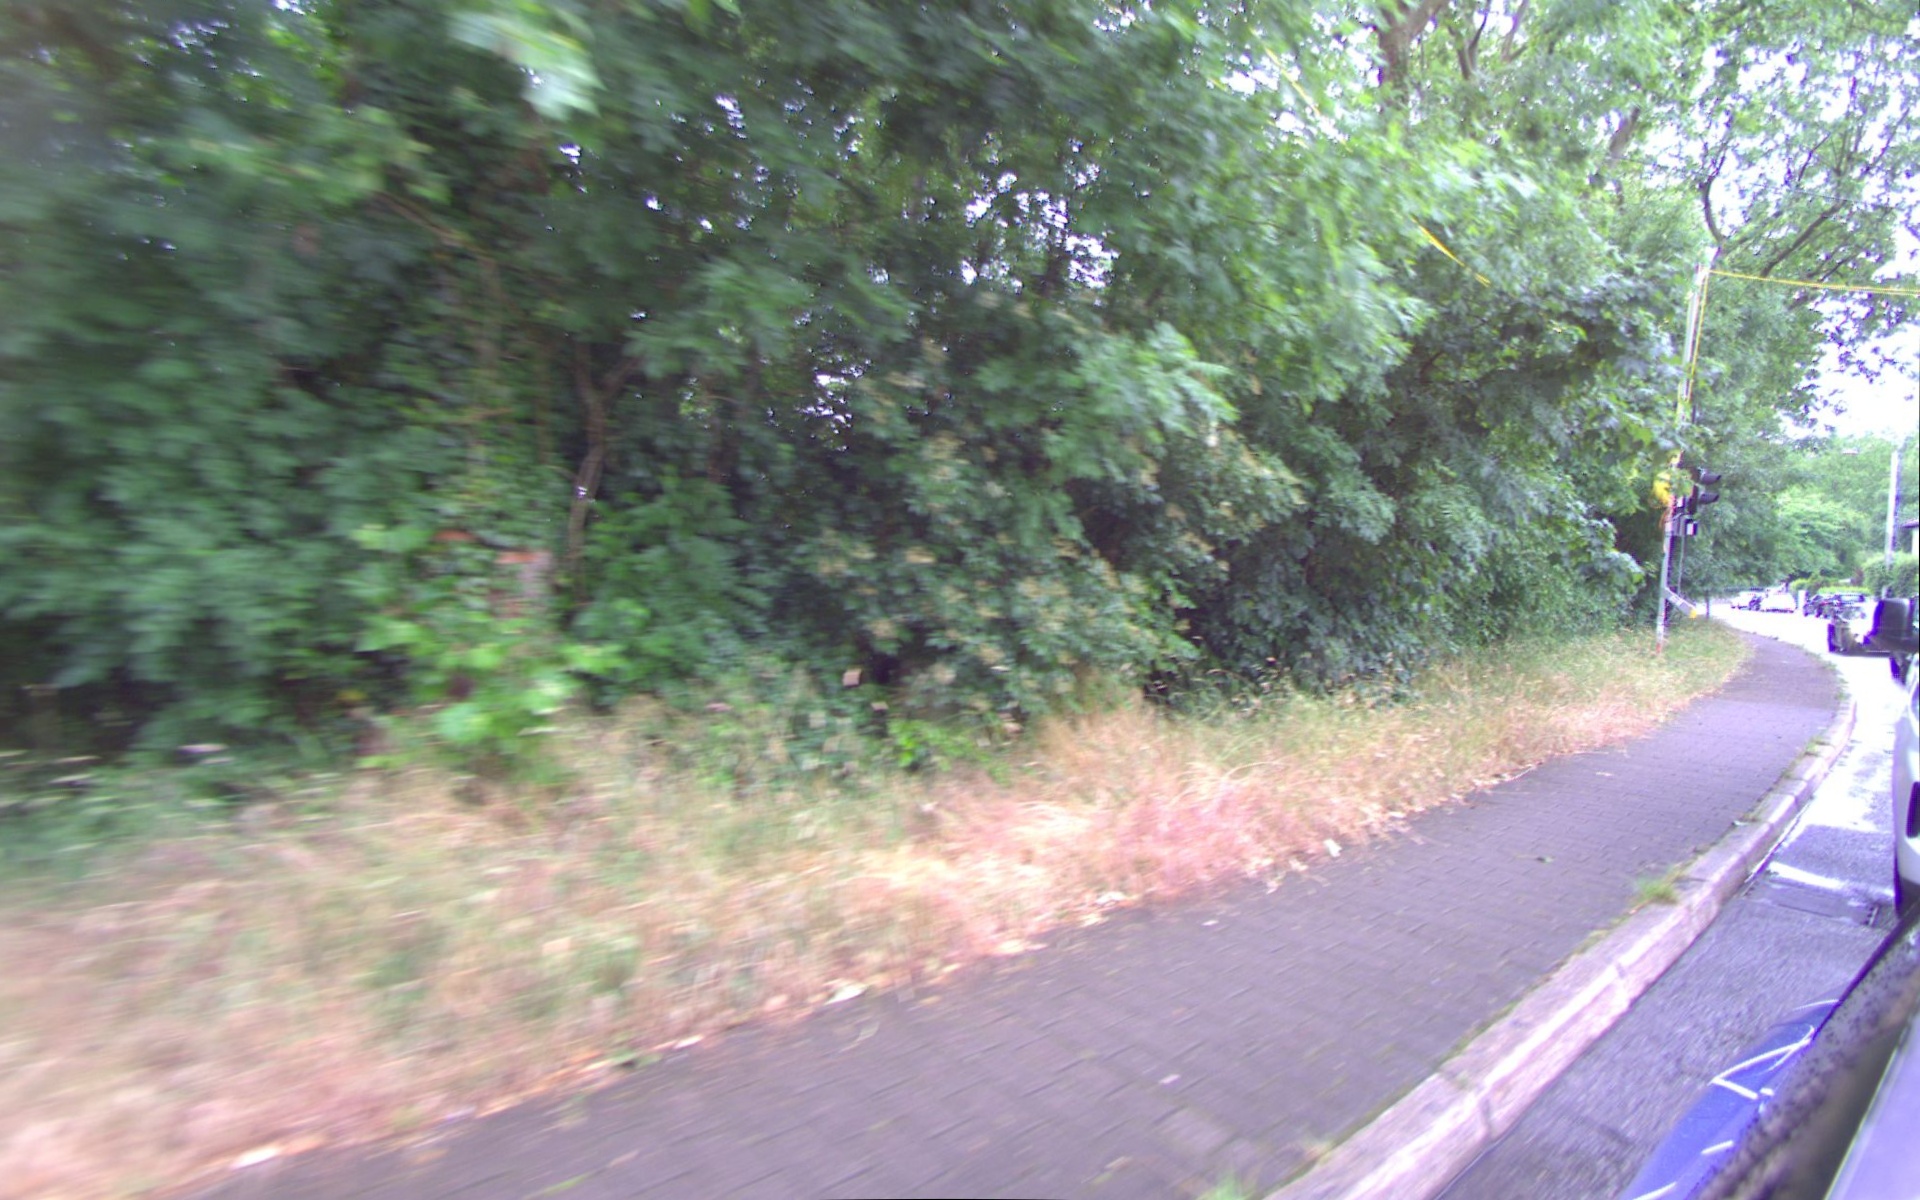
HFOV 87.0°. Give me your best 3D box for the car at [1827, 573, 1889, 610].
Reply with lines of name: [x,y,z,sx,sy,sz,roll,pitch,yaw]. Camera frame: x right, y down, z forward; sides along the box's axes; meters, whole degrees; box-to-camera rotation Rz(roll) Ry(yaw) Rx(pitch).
car: [51.336,-0.517,57.927,1.984,2.039,3.955,0,1,32]

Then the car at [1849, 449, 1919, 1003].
car: [5.791,0.399,4.540,5.119,1.917,2.044,-1,1,-41]

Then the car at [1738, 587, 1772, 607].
car: [65.046,-0.237,82.835,1.752,1.547,3.551,0,1,32]

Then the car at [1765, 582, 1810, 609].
car: [60.823,-0.338,74.455,1.984,1.884,4.312,0,1,32]

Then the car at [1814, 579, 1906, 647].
car: [23.180,0.355,26.175,1.663,1.609,3.946,0,-2,40]
